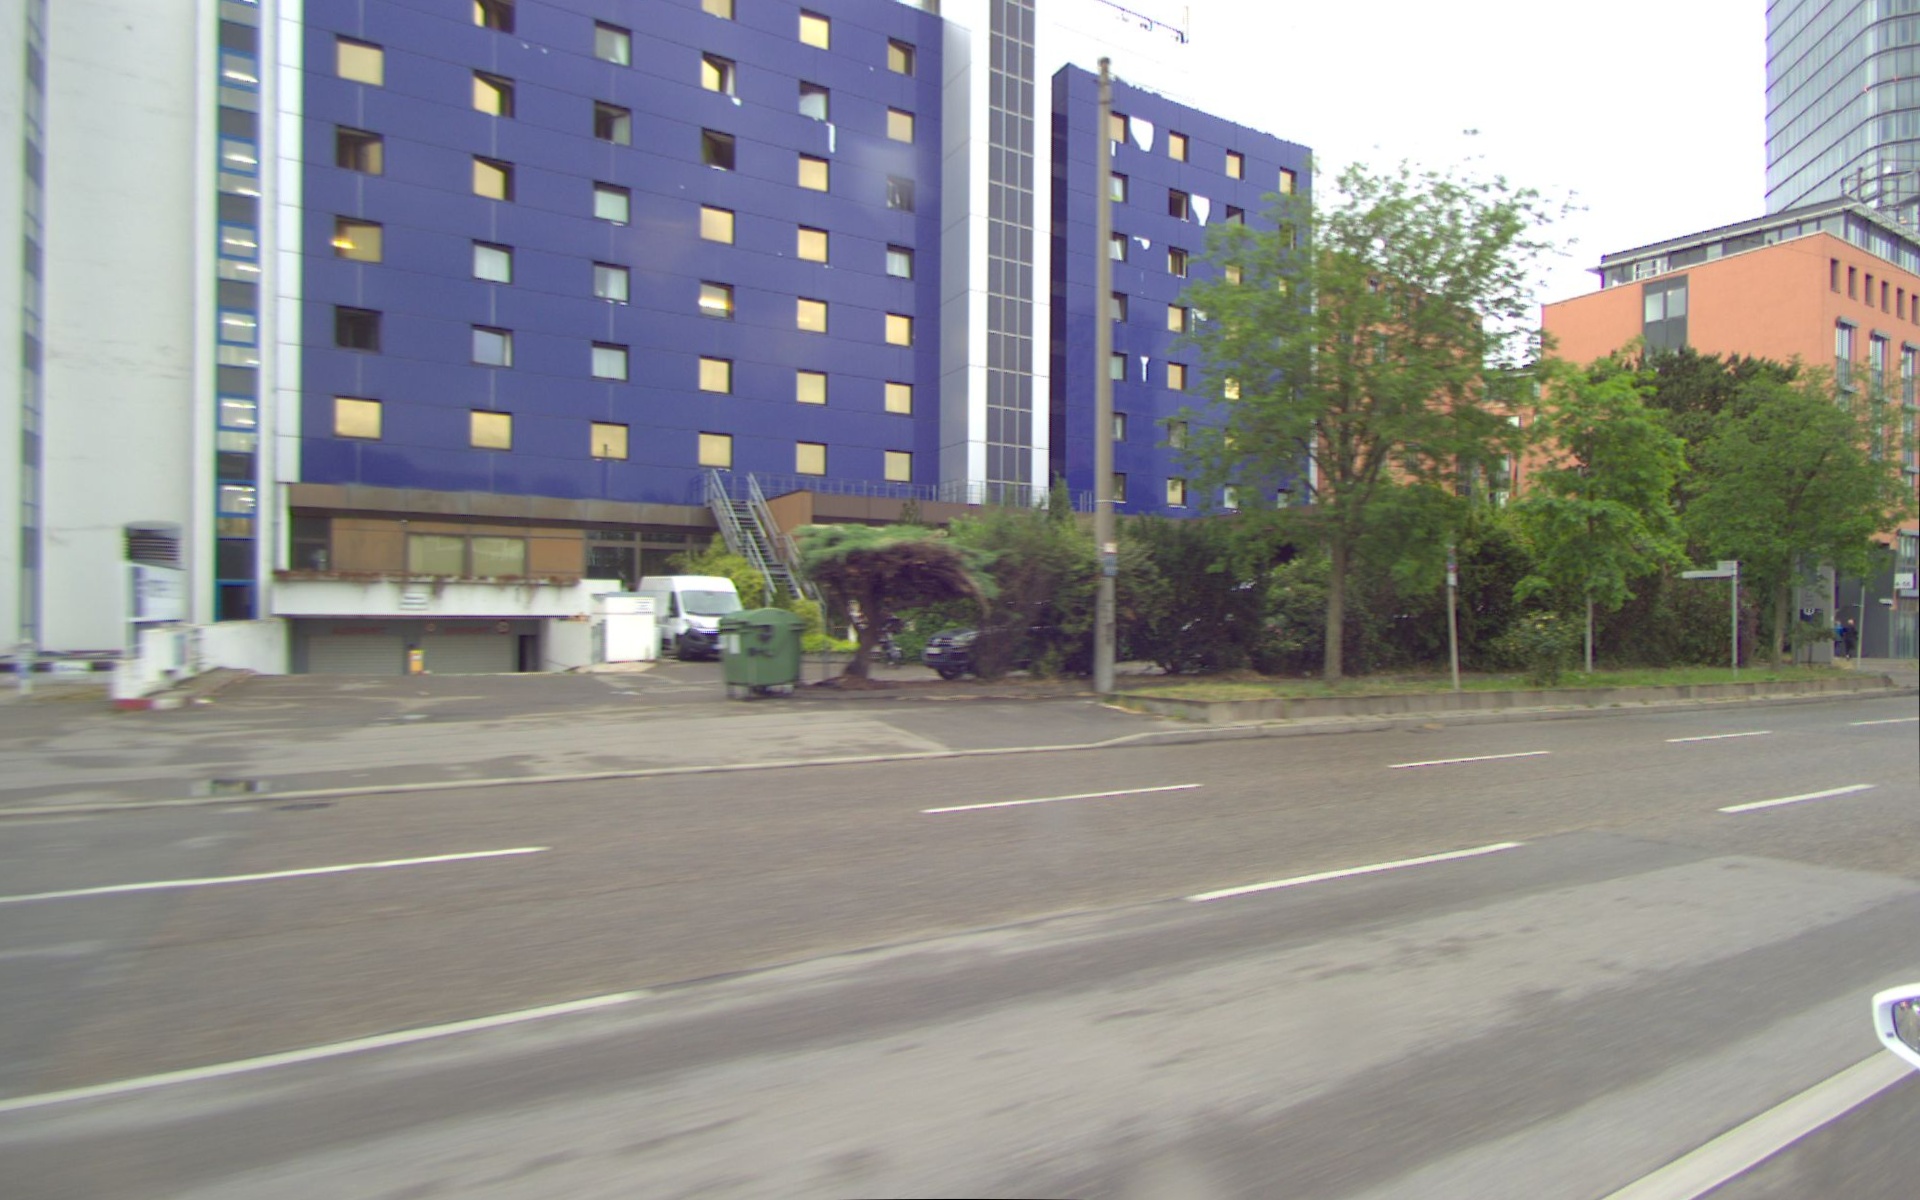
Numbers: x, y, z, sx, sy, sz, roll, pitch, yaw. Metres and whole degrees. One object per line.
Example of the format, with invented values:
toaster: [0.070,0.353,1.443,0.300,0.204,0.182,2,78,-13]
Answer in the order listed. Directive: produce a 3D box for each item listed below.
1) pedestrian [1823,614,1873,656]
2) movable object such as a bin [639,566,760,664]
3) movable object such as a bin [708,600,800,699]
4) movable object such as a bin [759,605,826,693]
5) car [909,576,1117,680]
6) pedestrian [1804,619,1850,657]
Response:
pedestrian: [40.474,1.627,45.801,1.422,1.847,1.309,3,-4,-30]
movable object such as a bin: [-8.057,0.586,30.612,2.136,2.662,5.601,3,-4,-29]
movable object such as a bin: [-3.386,0.792,16.419,0.942,1.510,1.381,-2,-1,-36]
movable object such as a bin: [-3.030,0.893,18.079,0.936,1.510,1.389,2,-4,-18]
car: [1.196,0.699,22.041,4.266,2.039,1.828,3,-4,-30]
pedestrian: [40.544,1.774,46.960,1.403,1.700,1.201,3,-4,-30]
